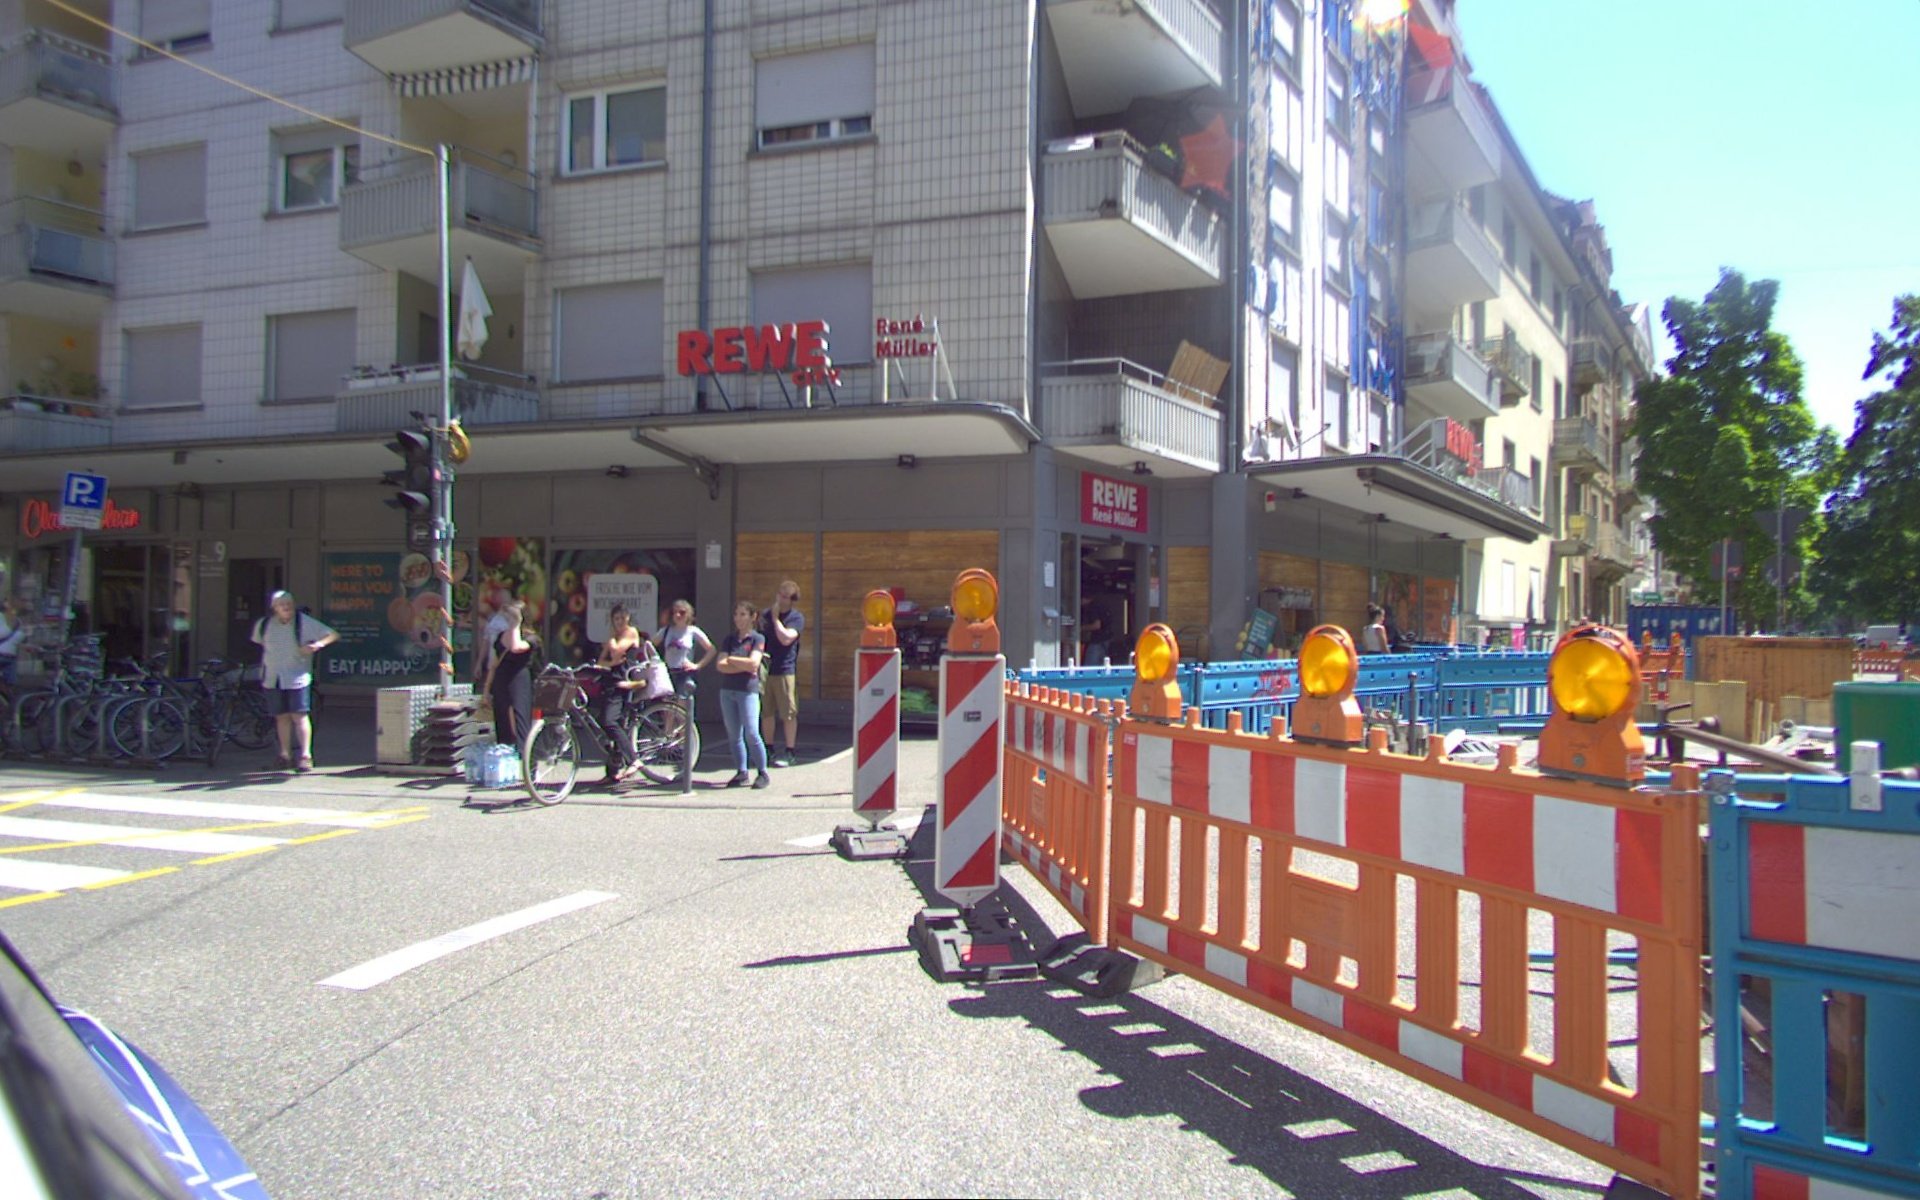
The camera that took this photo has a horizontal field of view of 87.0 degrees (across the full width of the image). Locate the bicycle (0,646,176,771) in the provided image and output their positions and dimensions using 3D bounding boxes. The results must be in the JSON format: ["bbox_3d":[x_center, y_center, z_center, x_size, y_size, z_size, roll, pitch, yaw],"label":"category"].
[{"bbox_3d":[-9.391,1.116,10.876,0.521,1.148,1.583,0,1,11],"label":"bicycle"}]

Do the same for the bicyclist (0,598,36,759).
[{"bbox_3d":[-10.675,0.835,10.906,0.969,1.719,0.622,0,0,14],"label":"bicyclist"}]

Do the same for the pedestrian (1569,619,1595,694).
[{"bbox_3d":[17.026,1.533,27.702,0.545,2.029,0.407,-1,-2,40],"label":"pedestrian"}]

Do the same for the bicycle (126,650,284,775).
[{"bbox_3d":[-7.946,1.144,10.725,0.332,1.125,1.519,0,1,11],"label":"bicycle"}]

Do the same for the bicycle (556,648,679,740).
[{"bbox_3d":[-4.240,1.161,12.547,1.411,1.094,0.322,0,-1,-3],"label":"bicycle"}]

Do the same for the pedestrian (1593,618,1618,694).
[{"bbox_3d":[17.425,1.508,27.320,0.504,2.029,0.440,-1,-2,40],"label":"pedestrian"}]

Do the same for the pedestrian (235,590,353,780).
[{"bbox_3d":[-6.369,0.786,9.700,0.626,1.740,0.655,0,-2,13],"label":"pedestrian"}]

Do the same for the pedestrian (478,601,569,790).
[{"bbox_3d":[-3.931,0.835,9.136,0.506,1.645,0.540,0,-2,13],"label":"pedestrian"}]

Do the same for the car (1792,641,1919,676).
[{"bbox_3d":[35.600,2.291,40.126,3.998,1.273,1.605,-1,-2,41],"label":"car"}]

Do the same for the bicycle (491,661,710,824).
[{"bbox_3d":[-2.962,1.128,8.510,0.467,1.127,1.788,-1,0,36],"label":"bicycle"}]

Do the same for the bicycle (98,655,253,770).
[{"bbox_3d":[-8.327,1.163,10.807,0.332,1.043,1.447,0,1,11],"label":"bicycle"}]

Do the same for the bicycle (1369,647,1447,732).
[{"bbox_3d":[6.218,1.216,14.106,0.337,1.080,1.575,1,-2,-2],"label":"bicycle"}]

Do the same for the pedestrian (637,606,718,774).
[{"bbox_3d":[-2.851,0.887,10.236,0.593,1.645,0.508,0,-2,13],"label":"pedestrian"}]

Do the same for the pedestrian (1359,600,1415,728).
[{"bbox_3d":[5.882,0.870,13.958,0.384,1.728,0.591,2,-2,-35],"label":"pedestrian"}]

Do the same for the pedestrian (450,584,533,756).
[{"bbox_3d":[-5.000,0.732,10.815,0.593,1.784,0.508,0,-2,13],"label":"pedestrian"}]

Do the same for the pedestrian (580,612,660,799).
[{"bbox_3d":[-3.001,0.901,8.928,0.459,1.577,0.490,-1,0,41],"label":"pedestrian"}]

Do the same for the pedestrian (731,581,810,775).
[{"bbox_3d":[-1.850,0.745,9.923,0.593,1.834,0.508,0,-2,13],"label":"pedestrian"}]

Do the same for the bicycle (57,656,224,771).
[{"bbox_3d":[-8.728,1.173,10.851,0.394,1.038,1.494,0,1,11],"label":"bicycle"}]

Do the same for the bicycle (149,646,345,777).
[{"bbox_3d":[-7.302,1.098,10.482,0.571,1.131,1.799,0,1,9],"label":"bicycle"}]

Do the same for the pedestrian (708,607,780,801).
[{"bbox_3d":[-1.878,0.884,8.814,0.471,1.630,0.389,0,-2,13],"label":"pedestrian"}]

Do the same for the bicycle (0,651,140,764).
[{"bbox_3d":[-10.064,1.145,10.959,0.598,1.100,1.934,-1,-1,9],"label":"bicycle"}]
